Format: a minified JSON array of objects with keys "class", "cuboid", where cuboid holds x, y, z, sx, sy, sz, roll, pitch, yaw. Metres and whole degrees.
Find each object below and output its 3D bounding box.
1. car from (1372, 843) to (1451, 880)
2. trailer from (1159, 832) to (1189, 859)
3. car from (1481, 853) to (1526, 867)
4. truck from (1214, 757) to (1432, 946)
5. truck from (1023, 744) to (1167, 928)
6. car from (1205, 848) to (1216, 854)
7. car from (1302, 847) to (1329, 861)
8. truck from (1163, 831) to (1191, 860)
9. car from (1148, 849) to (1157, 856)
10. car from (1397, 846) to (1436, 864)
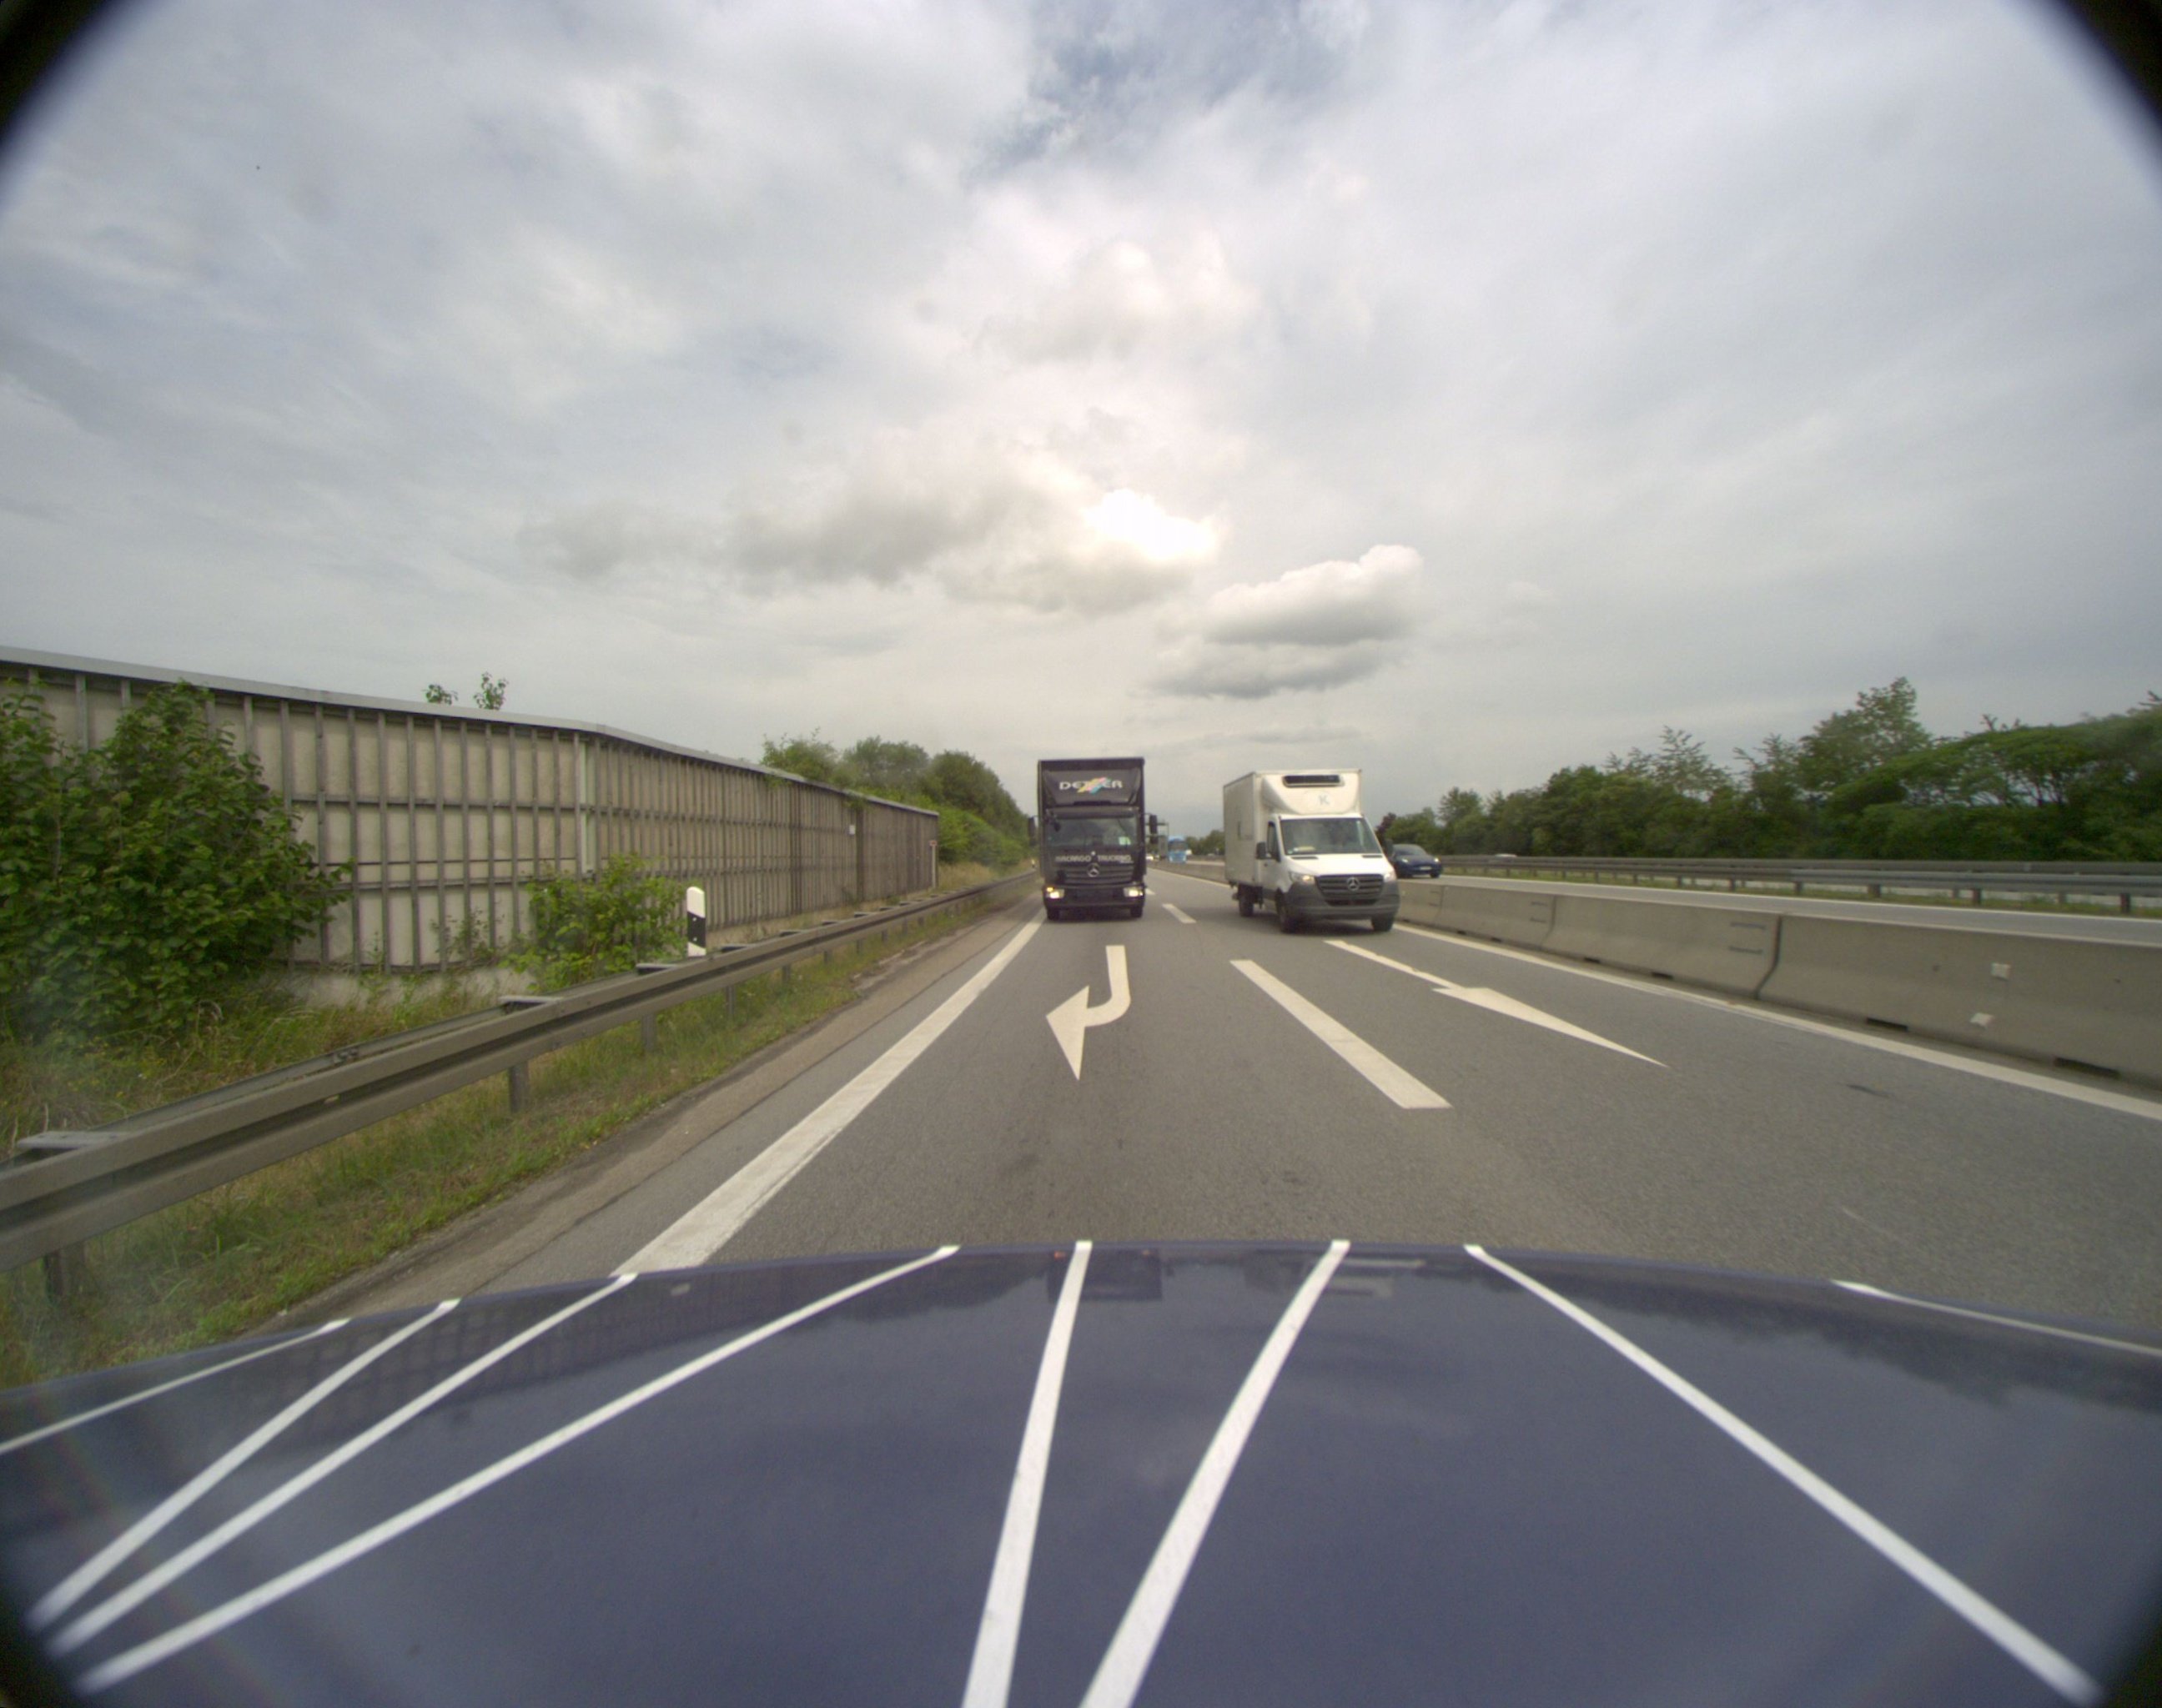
[{"class":"car","cuboid":[15.890,0.319,36.764,1.998,1.652,4.384,-1,0,1]},{"class":"trailer","cuboid":[14.122,-1.299,116.742,3.244,3.901,12.379,-2,1,1]},{"class":"car","cuboid":[37.323,0.500,67.194,1.691,1.185,4.004,-1,0,0]},{"class":"truck","cuboid":[4.588,-0.061,15.810,2.410,3.072,6.369,-2,0,0]},{"class":"truck","cuboid":[-0.021,-0.415,21.719,3.025,3.931,10.336,-2,0,-4]},{"class":"car","cuboid":[30.968,-0.767,181.581,1.737,1.511,3.719,-1,0,-2]},{"class":"car","cuboid":[25.572,-0.041,82.870,1.691,1.460,4.004,-2,0,0]},{"class":"truck","cuboid":[13.977,-1.218,110.792,3.255,3.889,6.610,-2,1,1]},{"class":"car","cuboid":[15.176,-0.330,161.847,1.684,1.476,3.776,-1,0,7]},{"class":"car","cuboid":[29.649,0.052,67.256,1.691,1.460,4.004,-2,0,0]}]
